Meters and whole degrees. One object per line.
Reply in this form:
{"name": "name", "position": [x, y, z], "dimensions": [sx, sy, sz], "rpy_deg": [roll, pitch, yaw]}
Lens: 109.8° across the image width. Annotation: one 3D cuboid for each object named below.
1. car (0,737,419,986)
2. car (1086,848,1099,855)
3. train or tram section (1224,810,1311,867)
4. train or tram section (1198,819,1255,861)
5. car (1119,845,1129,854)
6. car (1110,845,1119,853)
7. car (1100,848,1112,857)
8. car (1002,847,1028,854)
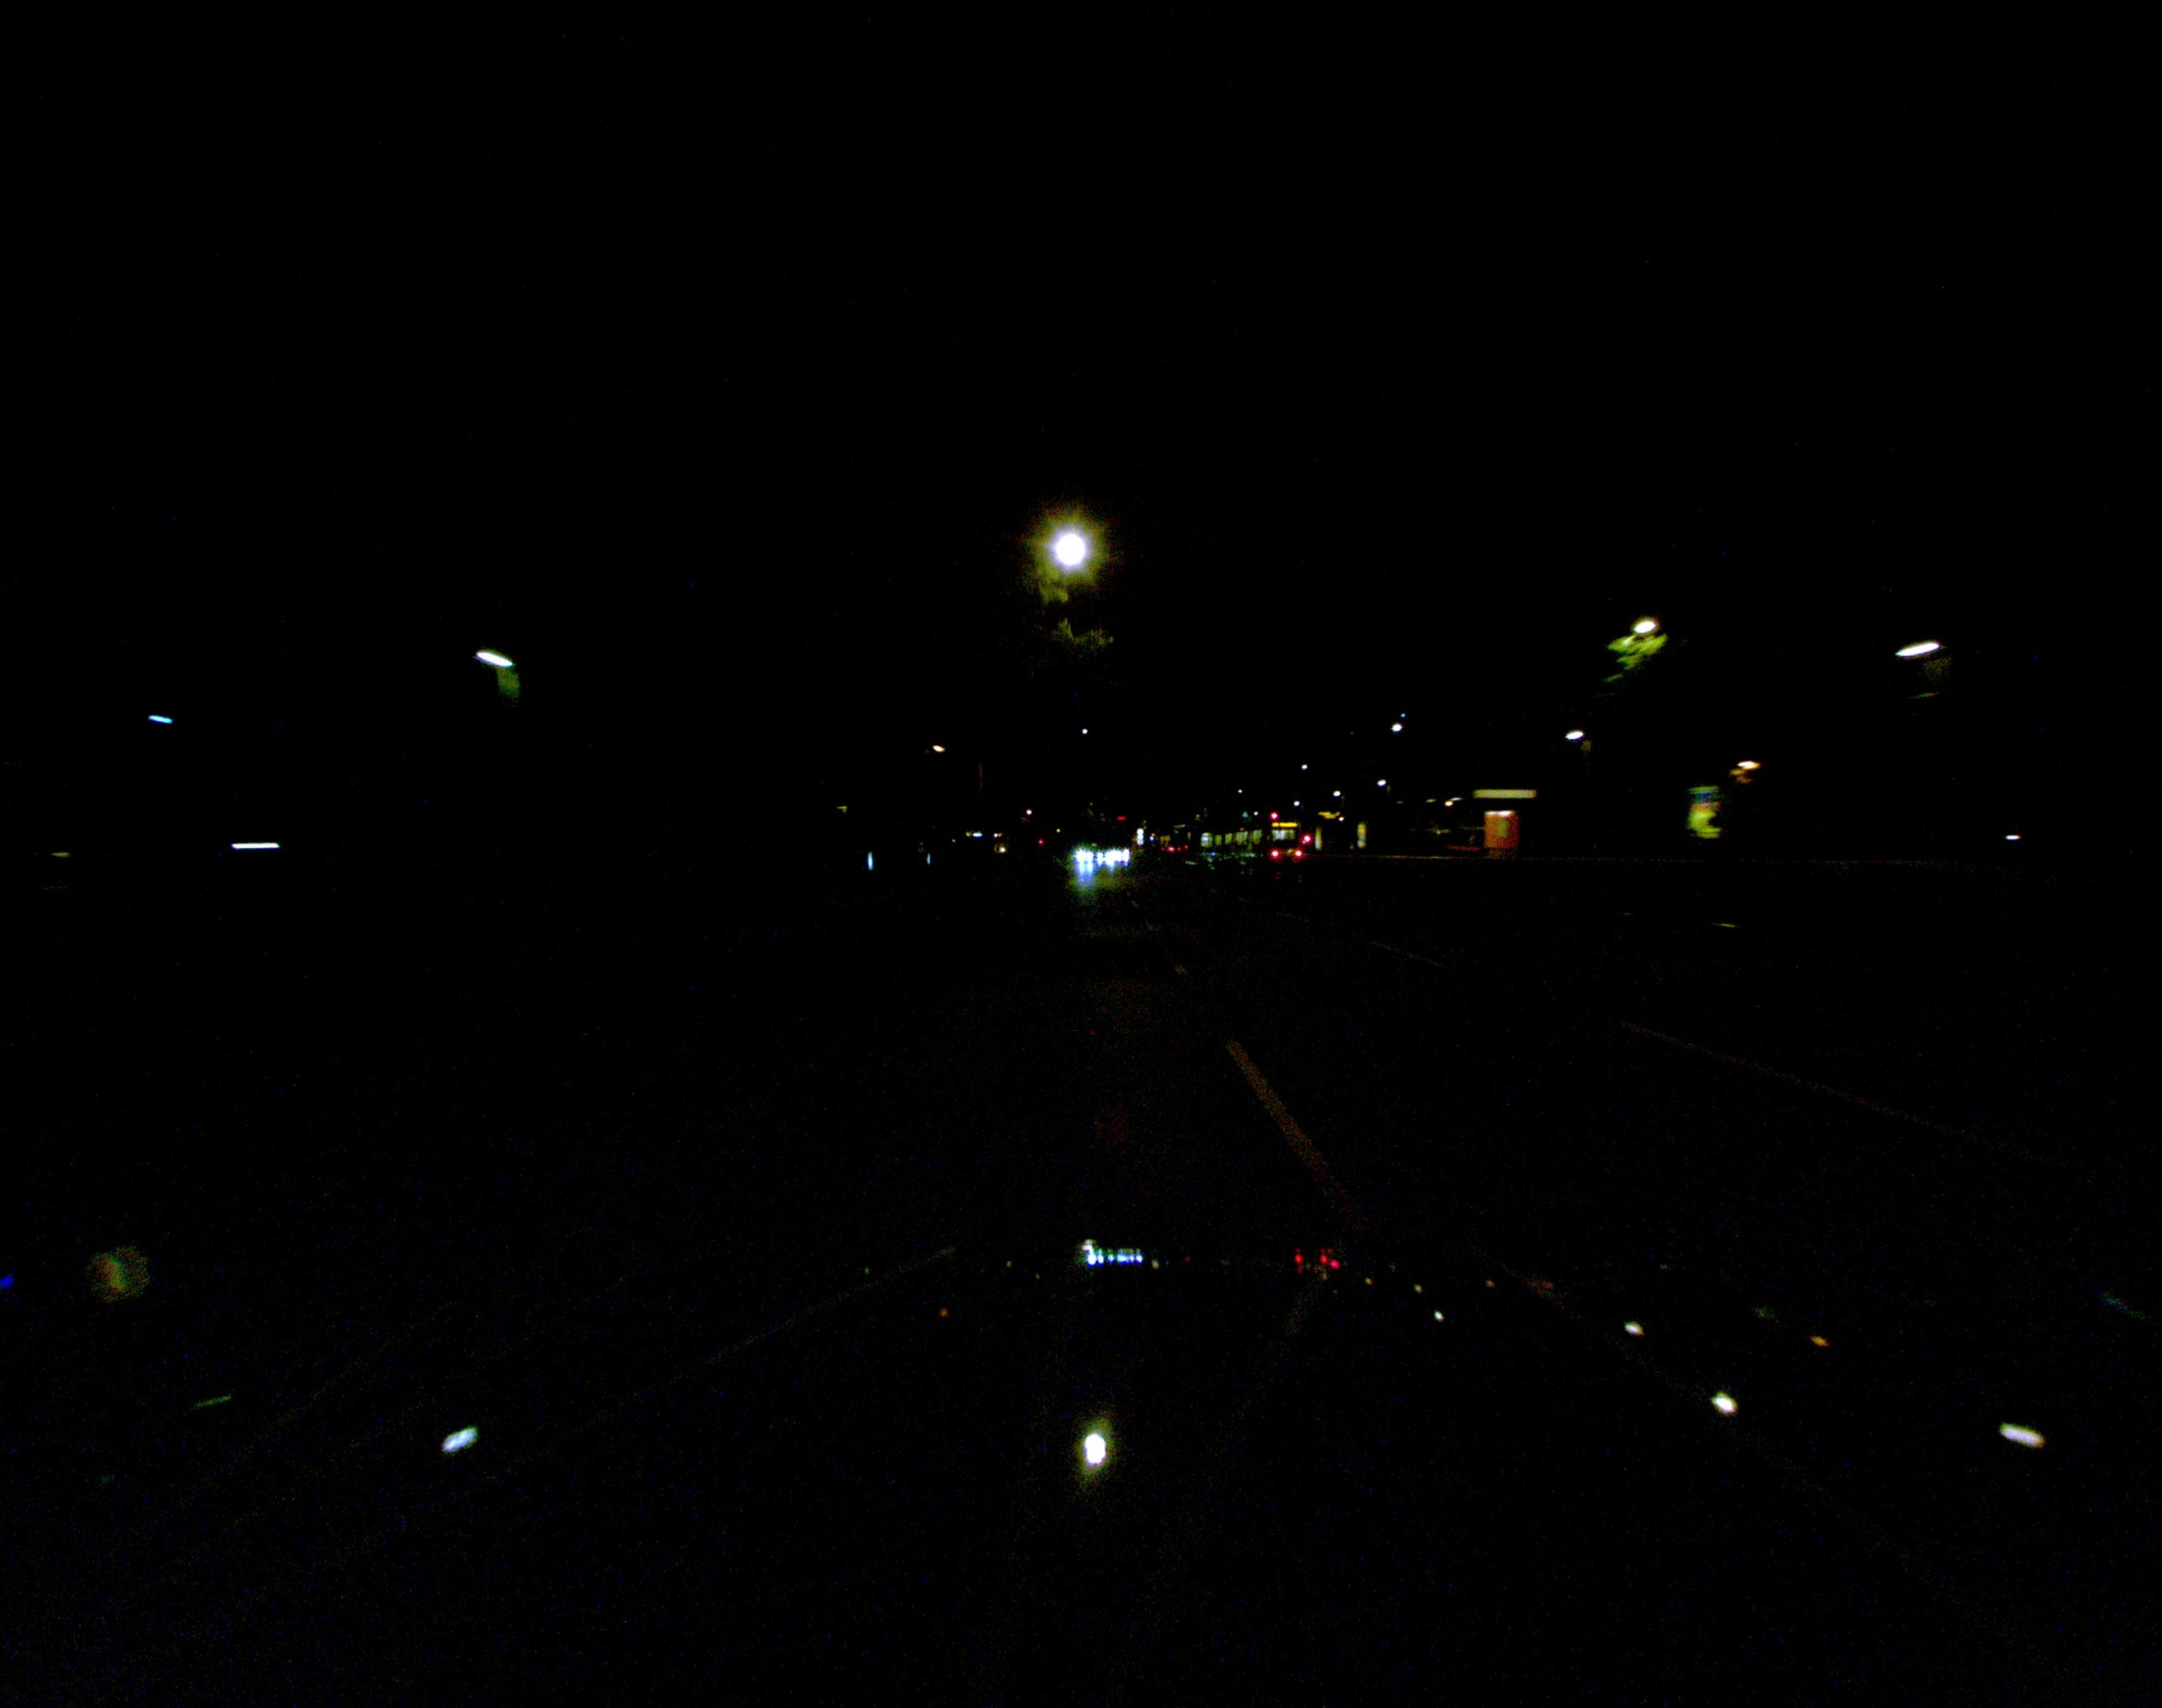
{"name": "car", "position": [-11.924, 0.023, 8.692], "dimensions": [6.041, 2.514, 2.280], "rpy_deg": [4, 0, -17]}
{"name": "car", "position": [2.145, -0.461, 136.302], "dimensions": [1.947, 1.299, 3.907], "rpy_deg": [0, 1, 7]}
{"name": "train or tram section", "position": [14.460, -1.161, 61.162], "dimensions": [2.765, 3.805, 18.669], "rpy_deg": [-2, 1, 1]}
{"name": "train or tram section", "position": [14.984, -1.403, 80.158], "dimensions": [2.745, 3.824, 19.362], "rpy_deg": [-2, 1, 2]}
{"name": "car", "position": [8.394, -0.878, 148.149], "dimensions": [1.908, 1.609, 3.718], "rpy_deg": [-2, 1, 2]}
{"name": "car", "position": [7.489, -1.135, 170.298], "dimensions": [1.827, 1.696, 4.000], "rpy_deg": [-2, 1, 4]}
{"name": "car", "position": [4.480, -0.317, 134.983], "dimensions": [1.858, 1.482, 3.560], "rpy_deg": [-2, 1, 7]}
{"name": "car", "position": [-10.590, -0.518, 122.539], "dimensions": [4.008, 1.028, 1.480], "rpy_deg": [0, 0, -40]}
